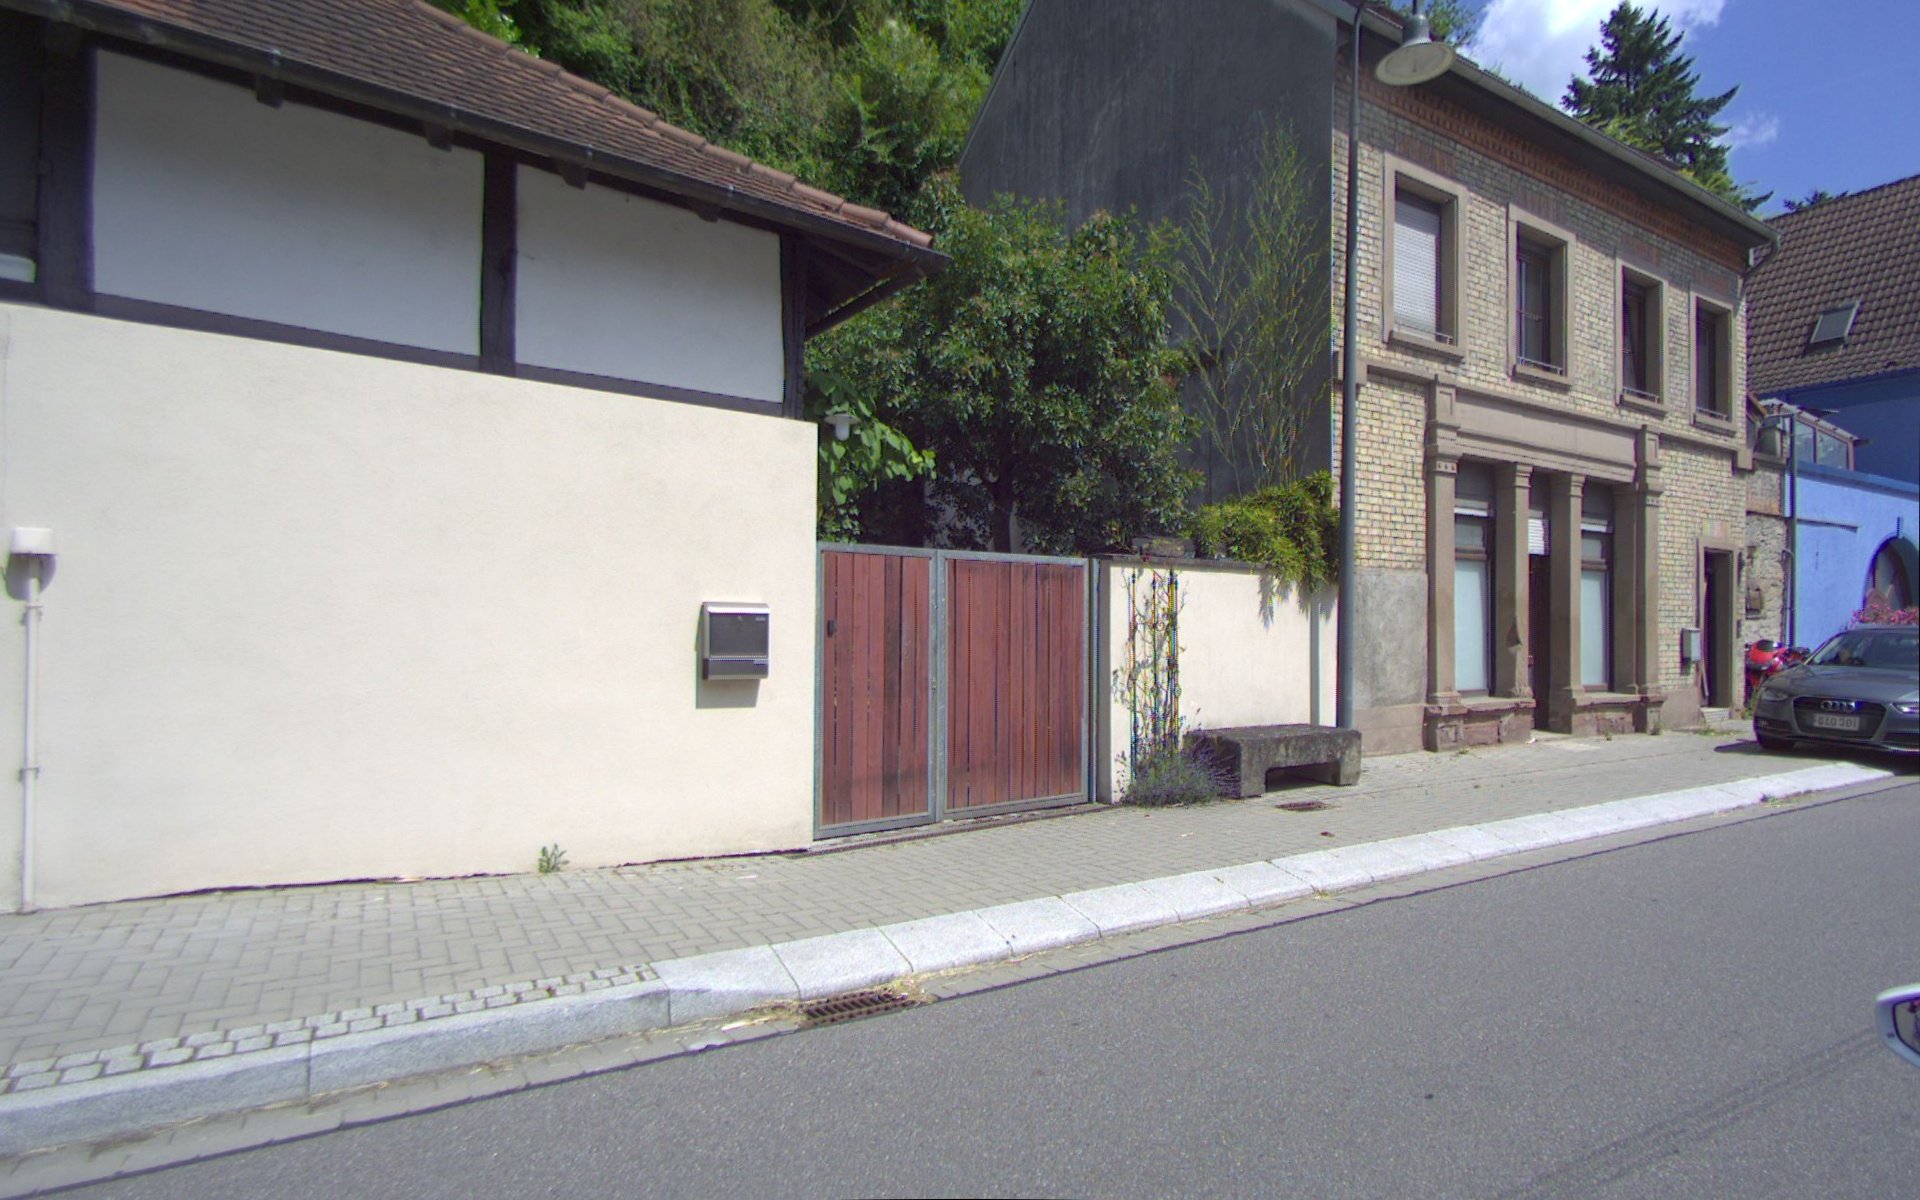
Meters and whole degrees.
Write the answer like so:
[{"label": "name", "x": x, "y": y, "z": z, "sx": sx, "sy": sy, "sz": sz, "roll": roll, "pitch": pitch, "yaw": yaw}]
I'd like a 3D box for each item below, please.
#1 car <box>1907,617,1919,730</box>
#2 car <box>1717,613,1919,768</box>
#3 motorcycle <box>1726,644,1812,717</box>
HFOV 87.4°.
[{"label": "car", "x": 15.111, "y": 1.023, "z": 13.750, "sx": 4.613, "sy": 1.484, "sz": 1.876, "roll": 0, "pitch": 2, "yaw": -30}, {"label": "car", "x": 10.804, "y": 0.955, "z": 11.538, "sx": 4.497, "sy": 1.485, "sz": 1.946, "roll": 2, "pitch": -1, "yaw": -33}, {"label": "motorcycle", "x": 12.251, "y": 1.194, "z": 15.194, "sx": 1.839, "sy": 1.014, "sz": 0.415, "roll": 2, "pitch": 3, "yaw": -33}]
